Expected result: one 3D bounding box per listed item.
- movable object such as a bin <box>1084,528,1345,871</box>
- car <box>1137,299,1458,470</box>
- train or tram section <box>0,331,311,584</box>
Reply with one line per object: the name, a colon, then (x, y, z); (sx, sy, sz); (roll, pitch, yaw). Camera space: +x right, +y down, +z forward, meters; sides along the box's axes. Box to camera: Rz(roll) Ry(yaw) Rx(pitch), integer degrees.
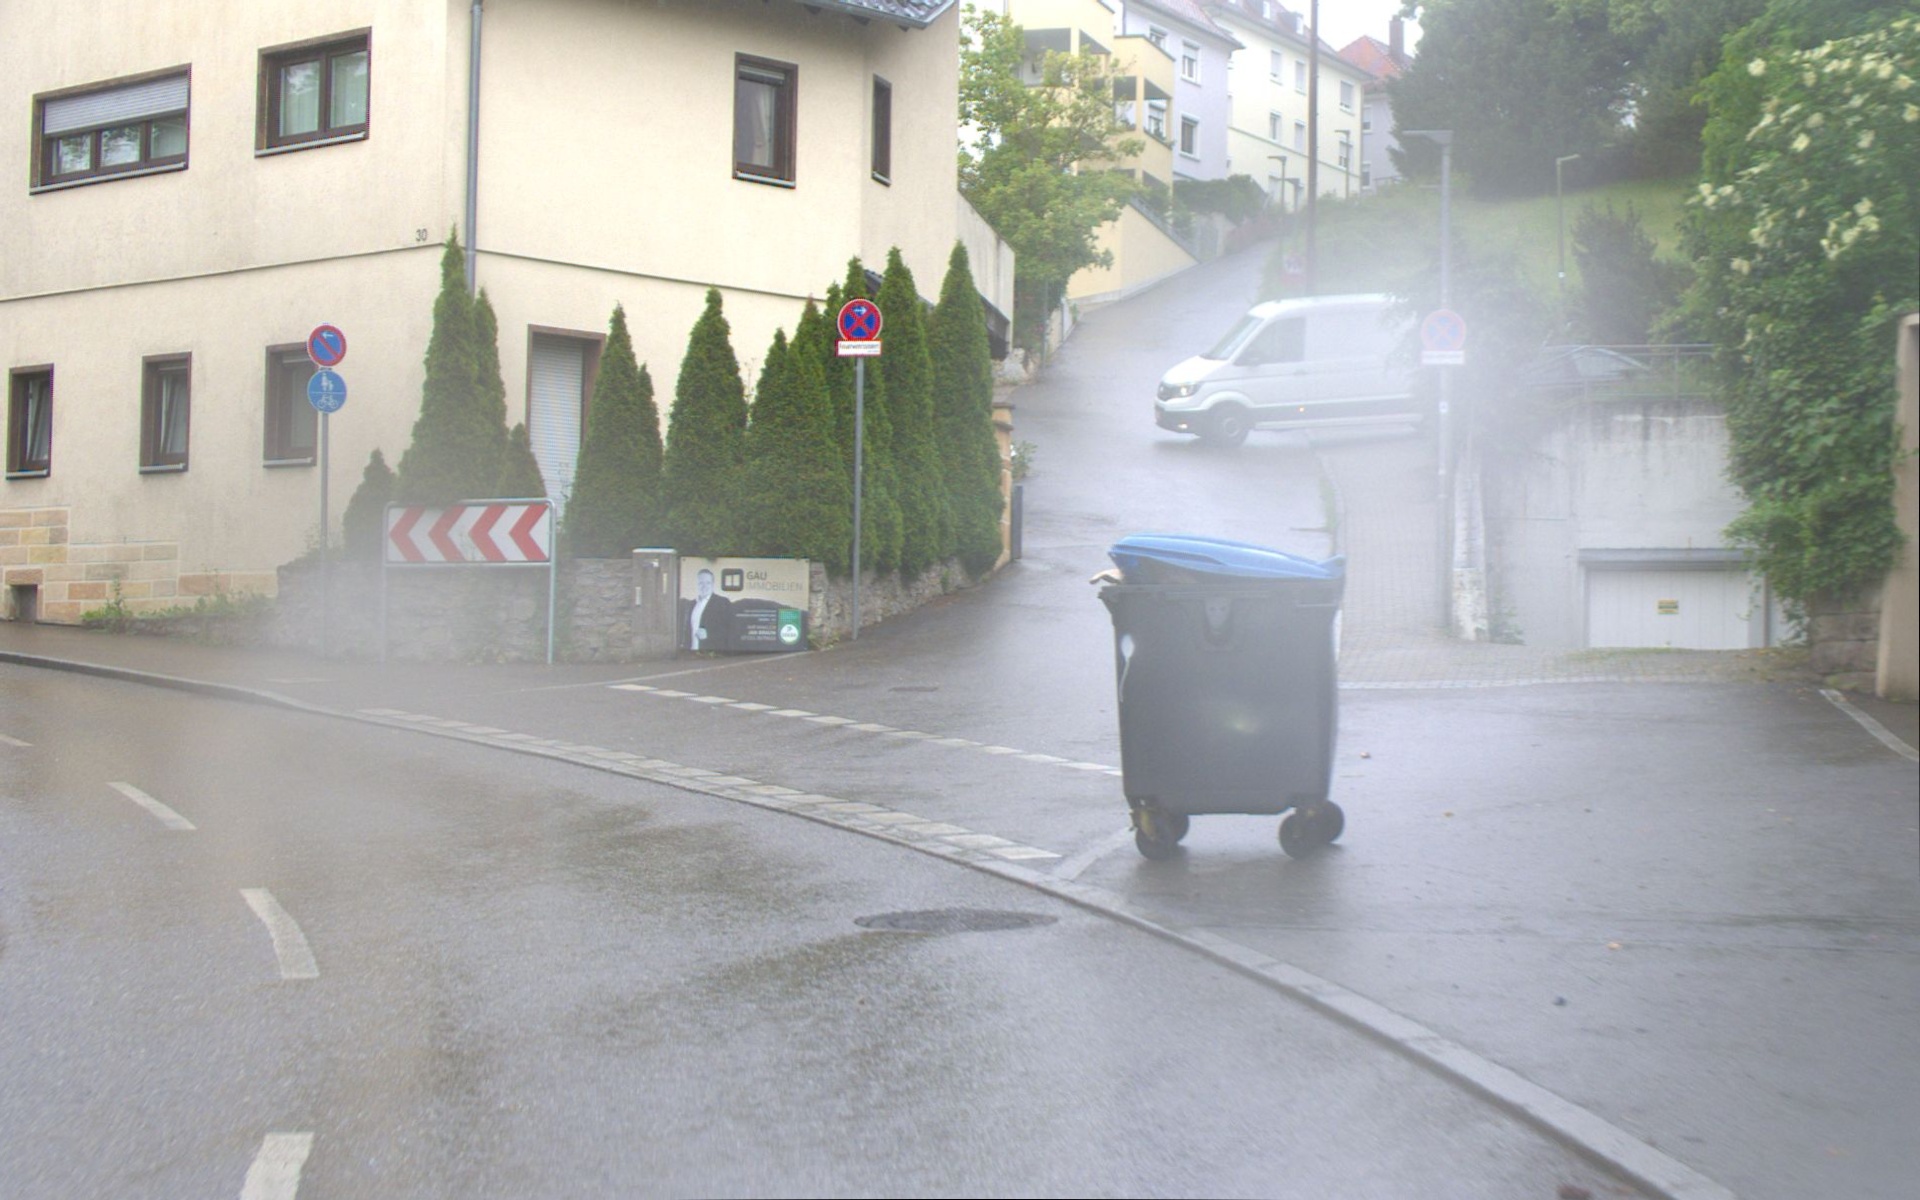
movable object such as a bin: (1.162, 0.410, 15.383); (1.082, 1.437, 1.457); (1, 1, 6)
car: (5.489, -3.504, 56.278); (4.942, 2.560, 1.905); (-2, 1, -2)
train or tram section: (-11.986, -1.837, 45.295); (2.363, 3.192, 6.854); (1, 1, 39)
